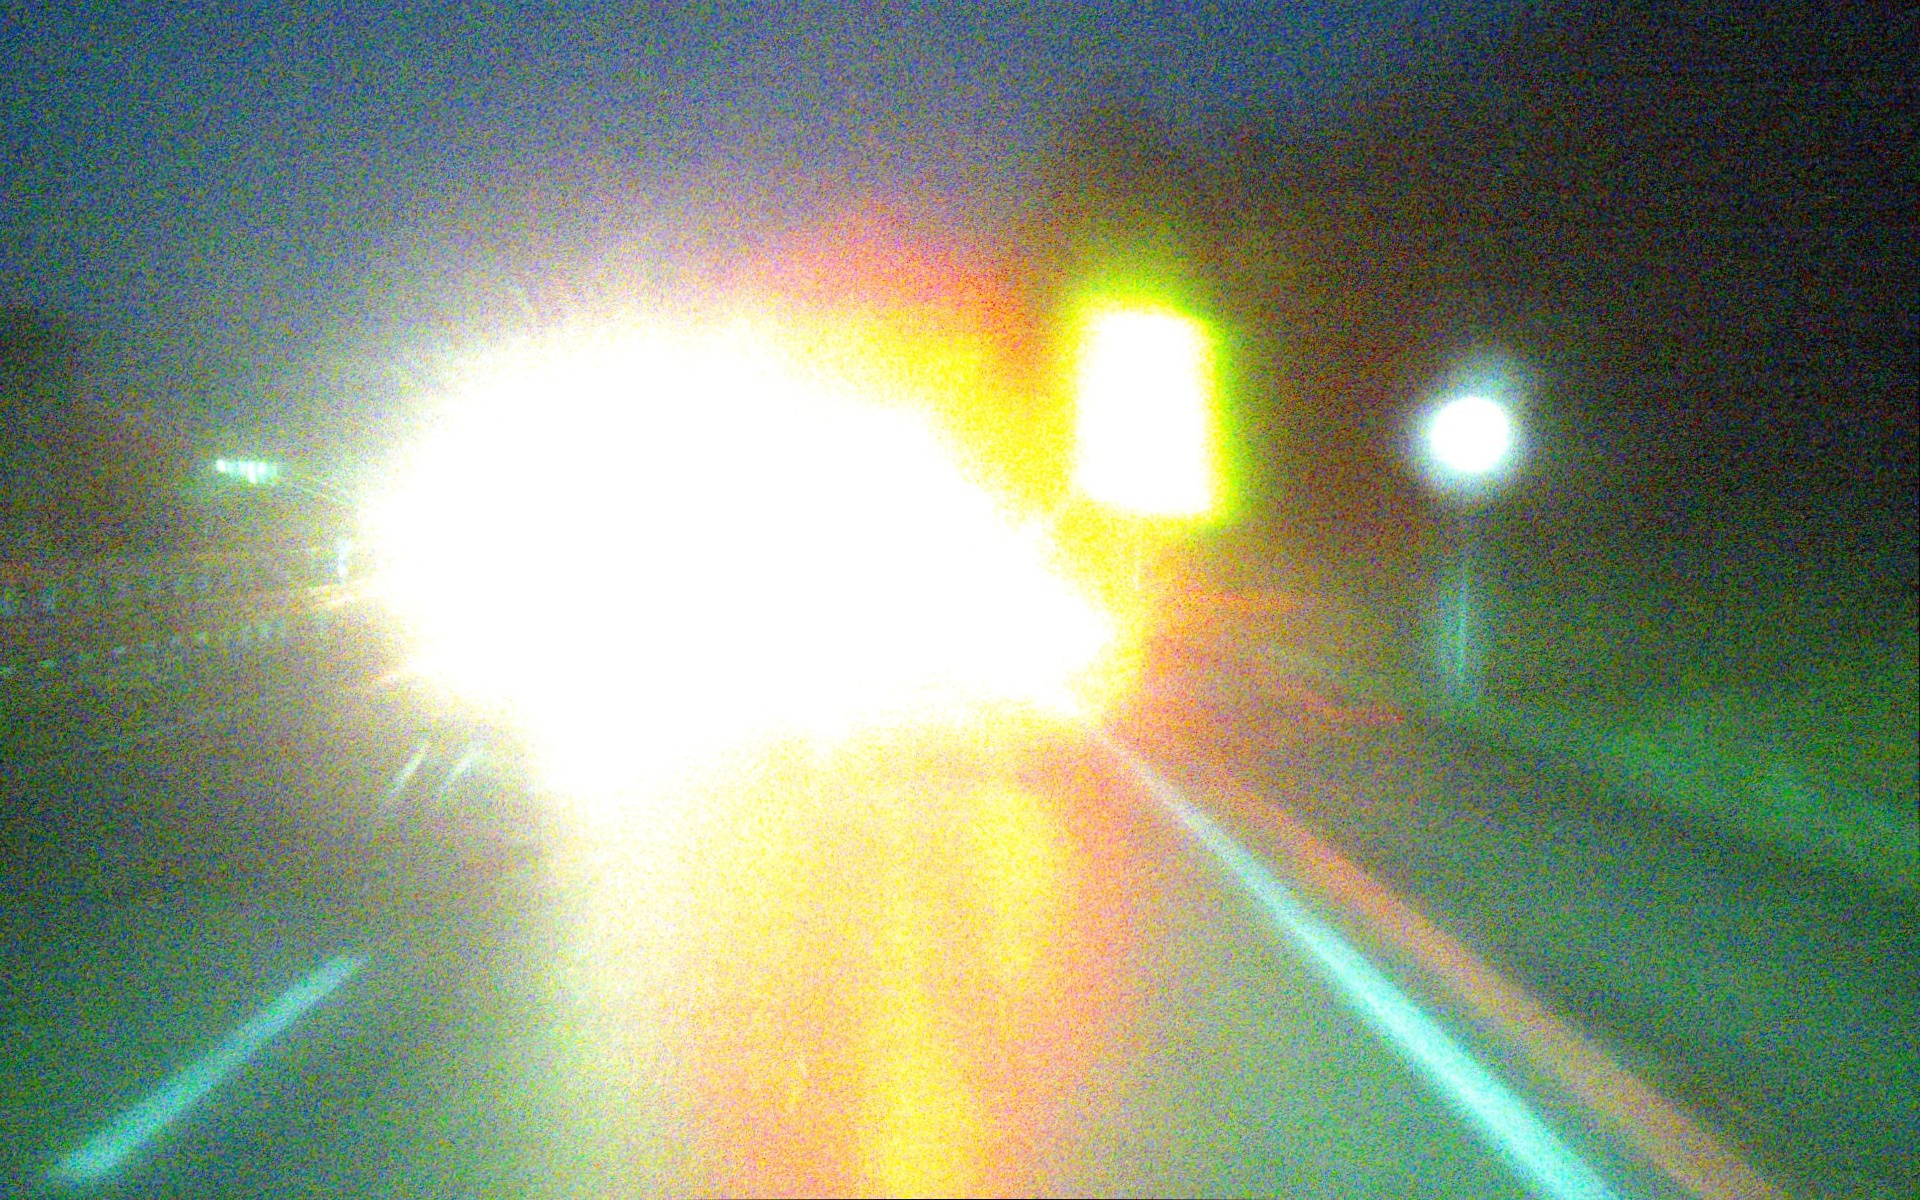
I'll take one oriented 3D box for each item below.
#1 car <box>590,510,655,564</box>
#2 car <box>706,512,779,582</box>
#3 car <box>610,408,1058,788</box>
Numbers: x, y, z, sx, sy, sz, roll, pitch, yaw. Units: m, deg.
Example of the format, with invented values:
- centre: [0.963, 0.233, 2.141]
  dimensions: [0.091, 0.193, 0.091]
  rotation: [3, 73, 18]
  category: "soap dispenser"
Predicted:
- centre: [-10.290, -1.943, 105.017]
  dimensions: [1.862, 1.539, 4.230]
  rotation: [1, 2, -4]
  category: "car"
- centre: [-6.300, -1.546, 99.638]
  dimensions: [1.993, 1.908, 4.001]
  rotation: [2, 1, -3]
  category: "car"
- centre: [-0.910, -0.064, 23.997]
  dimensions: [2.715, 2.300, 6.101]
  rotation: [0, 1, -3]
  category: "car"
